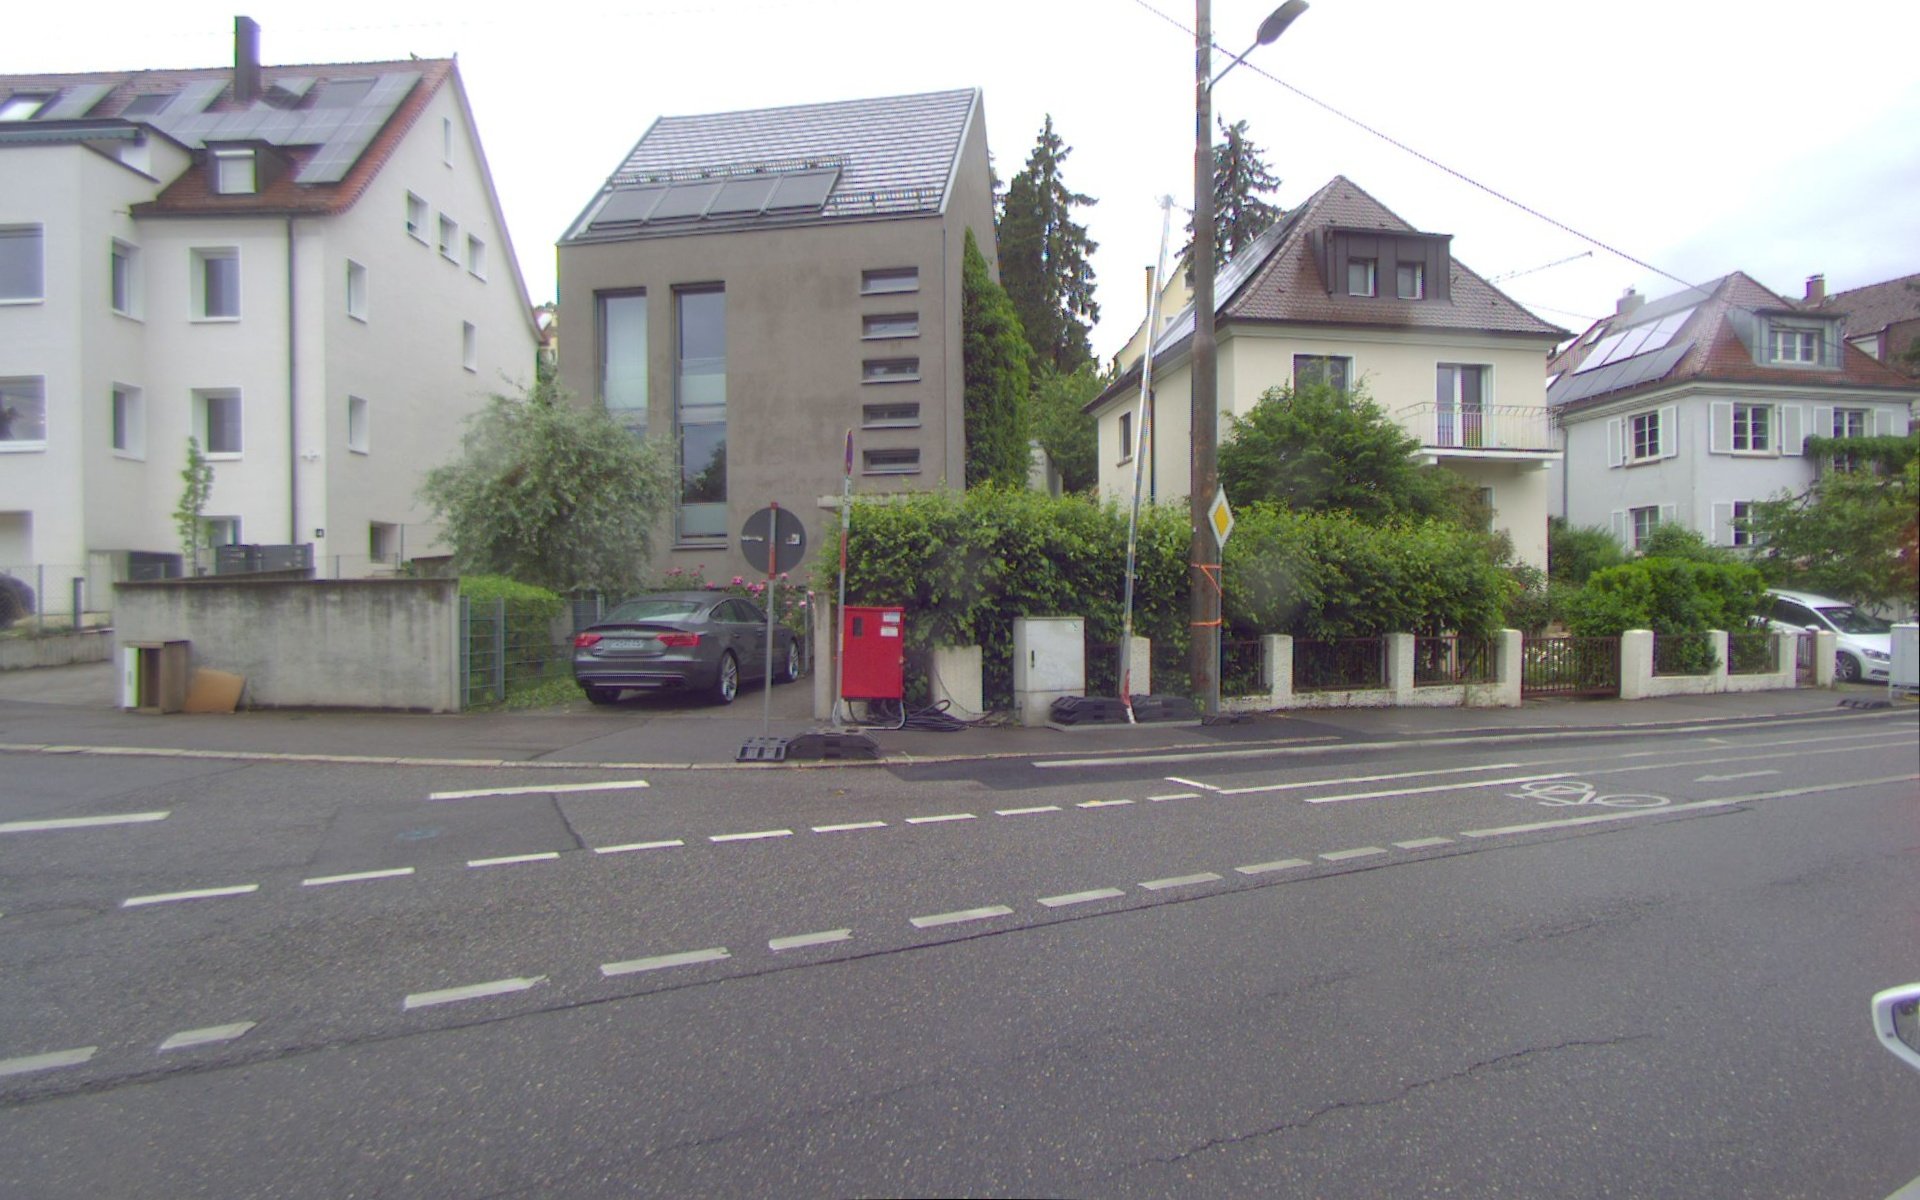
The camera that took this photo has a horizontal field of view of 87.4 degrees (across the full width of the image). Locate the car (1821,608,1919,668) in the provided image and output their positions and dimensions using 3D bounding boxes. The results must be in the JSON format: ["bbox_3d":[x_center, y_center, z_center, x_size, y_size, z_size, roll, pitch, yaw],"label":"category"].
[{"bbox_3d":[25.976,1.049,26.923,1.909,1.546,3.986,2,0,-16],"label":"car"}]

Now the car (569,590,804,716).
[{"bbox_3d":[-3.504,0.585,13.728,1.581,1.387,4.265,0,1,7],"label":"car"}]

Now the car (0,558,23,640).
[{"bbox_3d":[-16.824,0.054,15.142,1.536,1.350,3.923,1,3,3],"label":"car"}]

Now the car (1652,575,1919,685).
[{"bbox_3d":[19.624,0.582,23.996,1.833,1.639,4.960,0,10,-15],"label":"car"}]
